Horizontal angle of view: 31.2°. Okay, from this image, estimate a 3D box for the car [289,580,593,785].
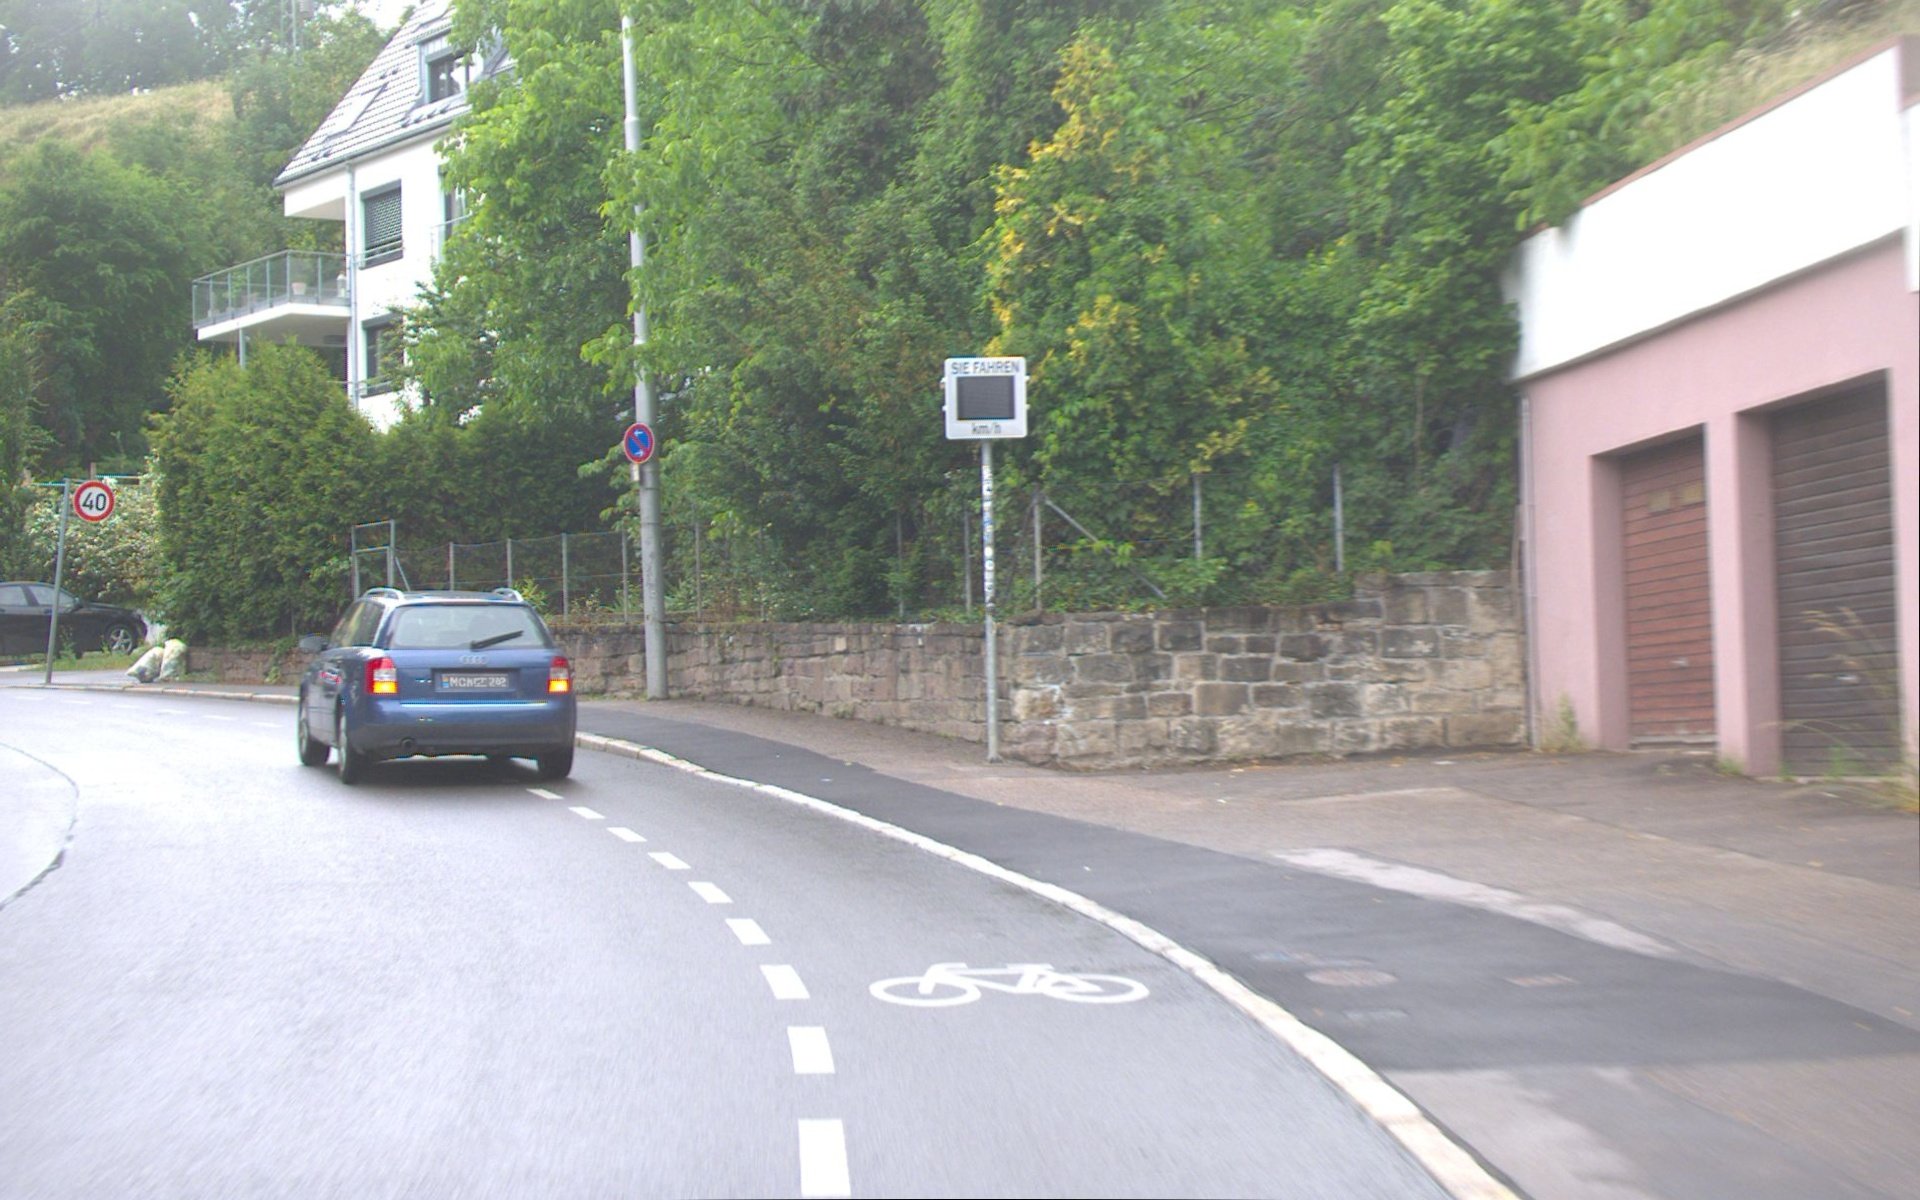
[{"bbox_3d":[-4.153,0.580,26.944,1.853,1.409,4.363,-1,1,-15],"label":"car"}]

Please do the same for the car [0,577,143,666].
[{"bbox_3d":[-16.412,0.364,59.598,1.739,1.503,4.173,0,1,39],"label":"car"}]
